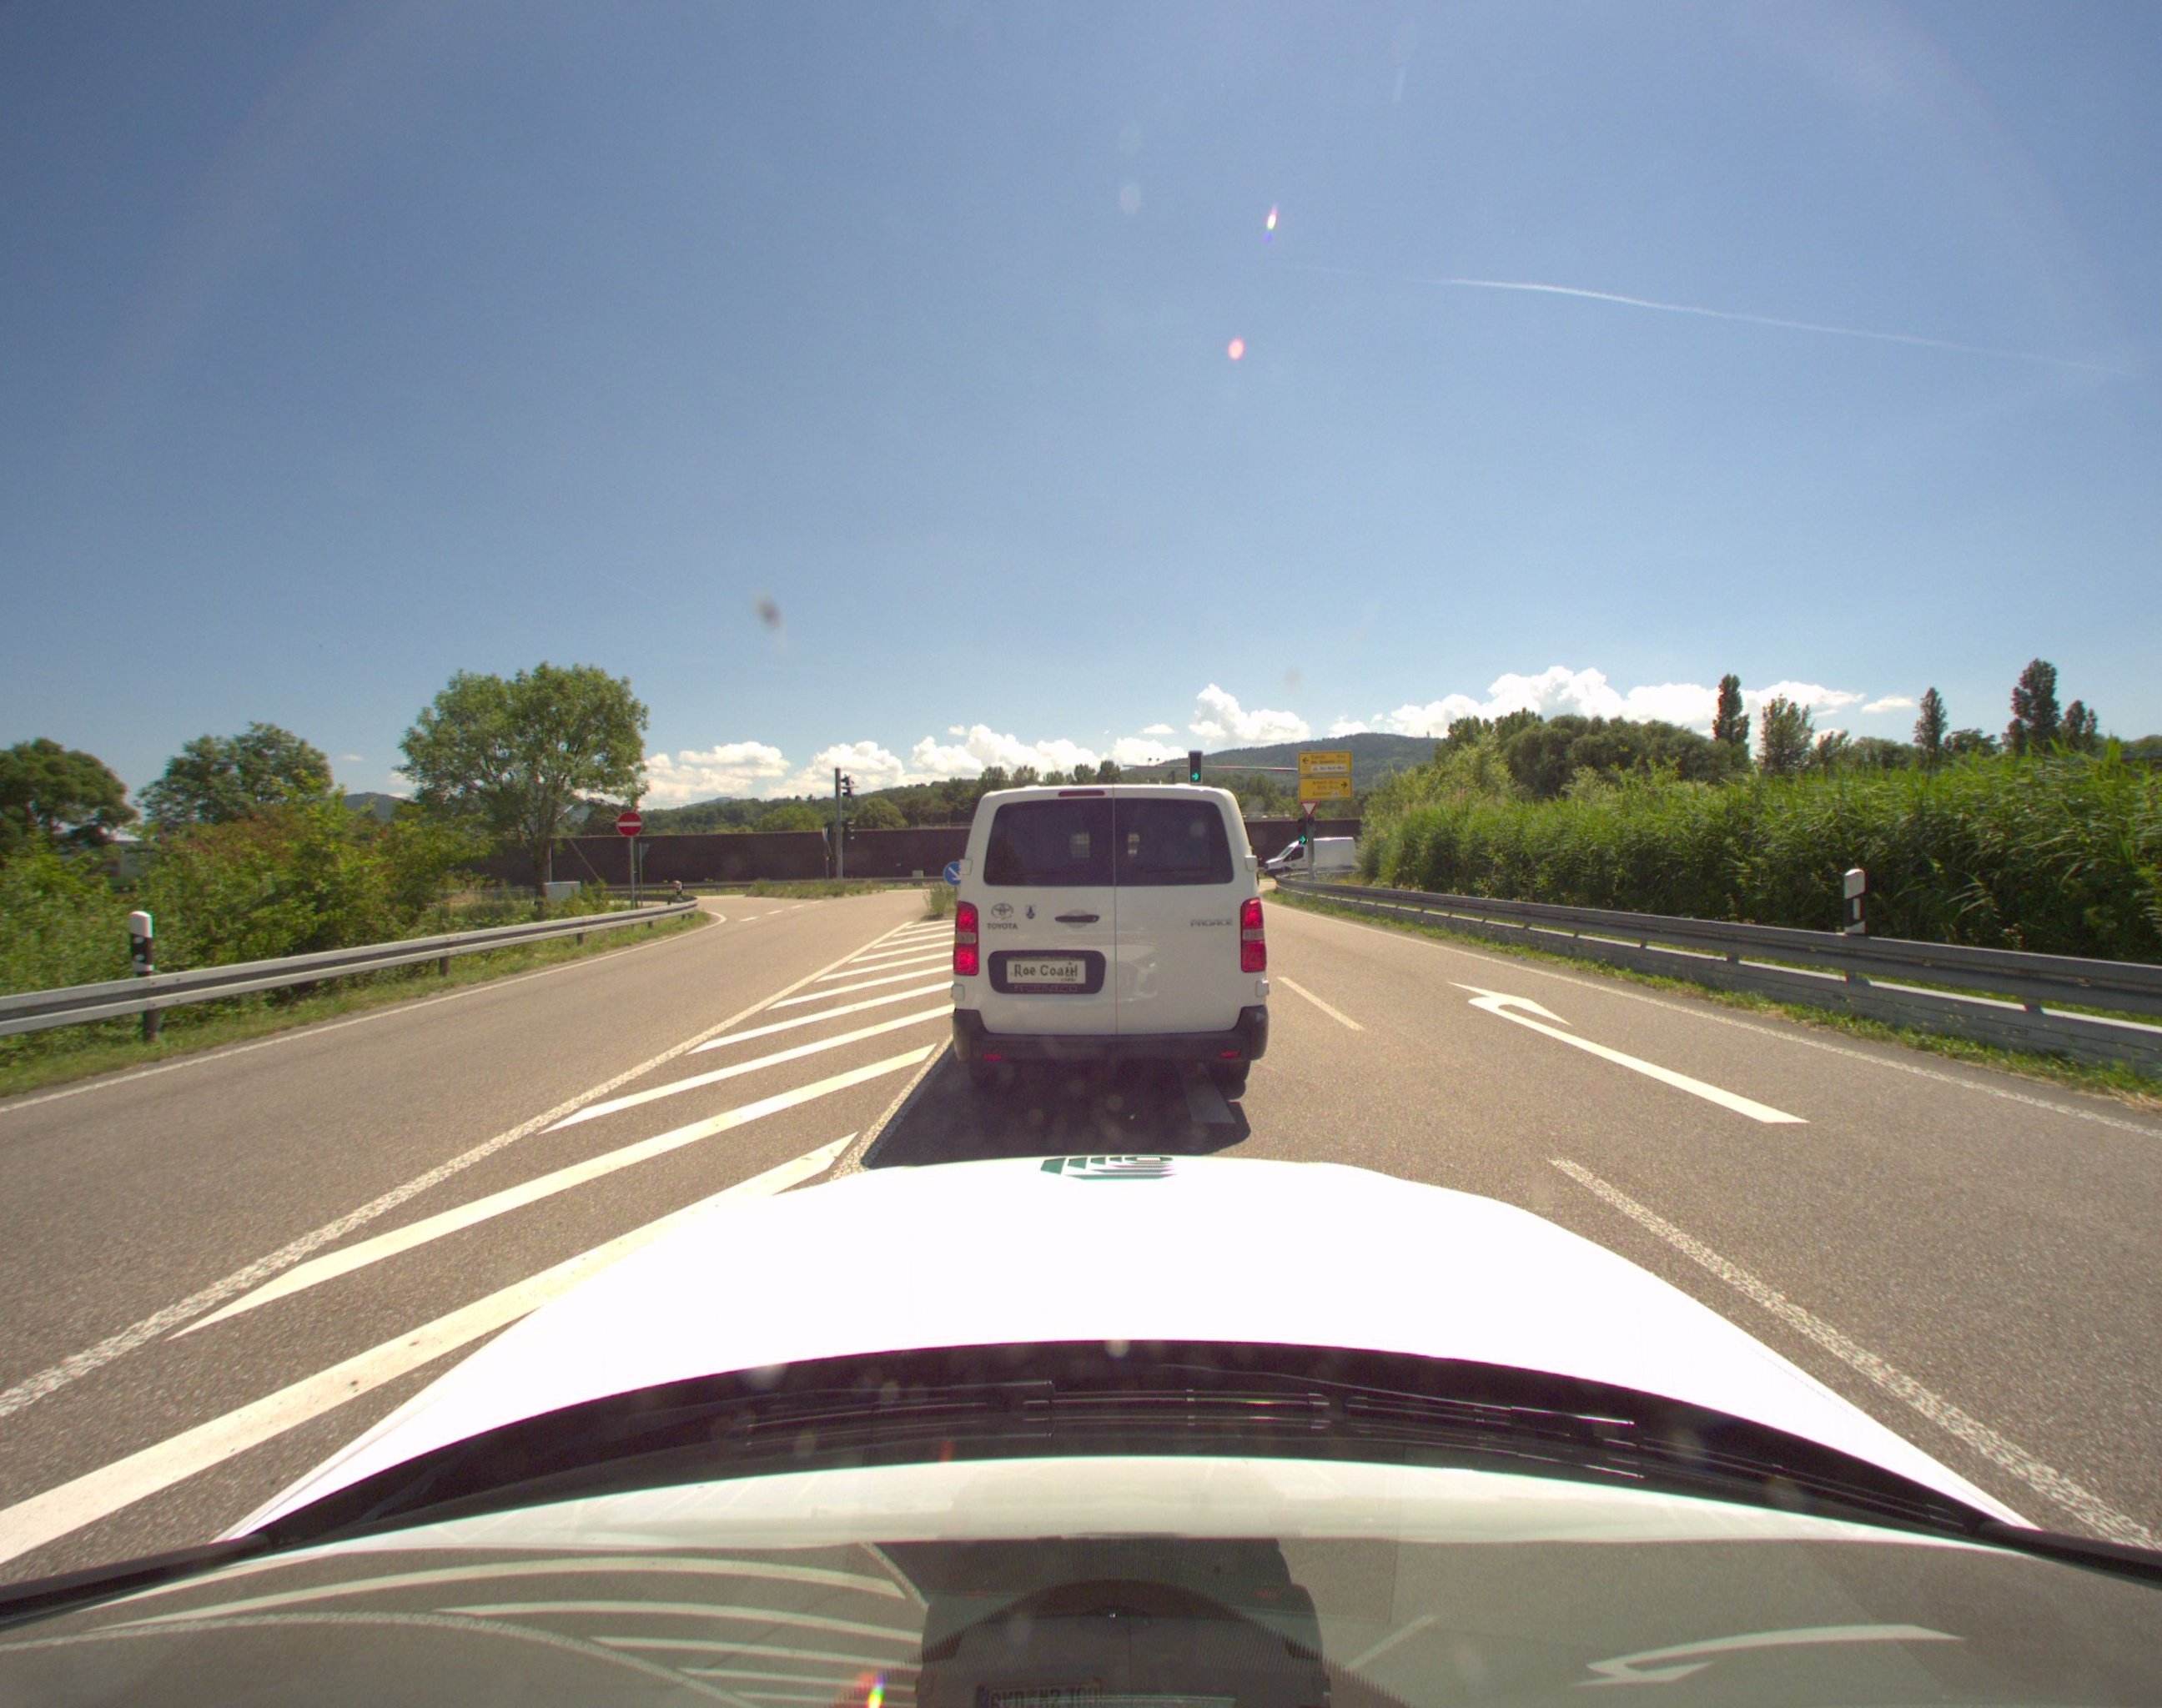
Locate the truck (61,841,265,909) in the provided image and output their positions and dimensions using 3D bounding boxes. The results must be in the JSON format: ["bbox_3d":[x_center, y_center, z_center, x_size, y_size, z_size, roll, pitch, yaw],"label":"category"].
[{"bbox_3d":[-49.847,1.146,44.332,9.028,3.470,2.128,-1,-1,3],"label":"truck"}]

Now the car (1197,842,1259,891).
[{"bbox_3d":[6.566,0.532,35.906,1.913,2.000,4.861,-1,-1,19],"label":"car"}]

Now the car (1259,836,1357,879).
[{"bbox_3d":[13.653,0.212,49.131,5.328,2.450,2.039,-1,-1,-1],"label":"car"}]

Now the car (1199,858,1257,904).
[{"bbox_3d":[4.853,0.857,27.213,1.648,1.431,3.371,-1,-1,6],"label":"car"}]

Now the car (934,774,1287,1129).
[{"bbox_3d":[0.201,0.541,6.374,1.880,1.886,4.001,-1,-1,1],"label":"car"}]

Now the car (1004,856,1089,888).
[{"bbox_3d":[-1.863,0.965,44.838,4.346,1.656,1.976,-1,-1,-40],"label":"car"}]
